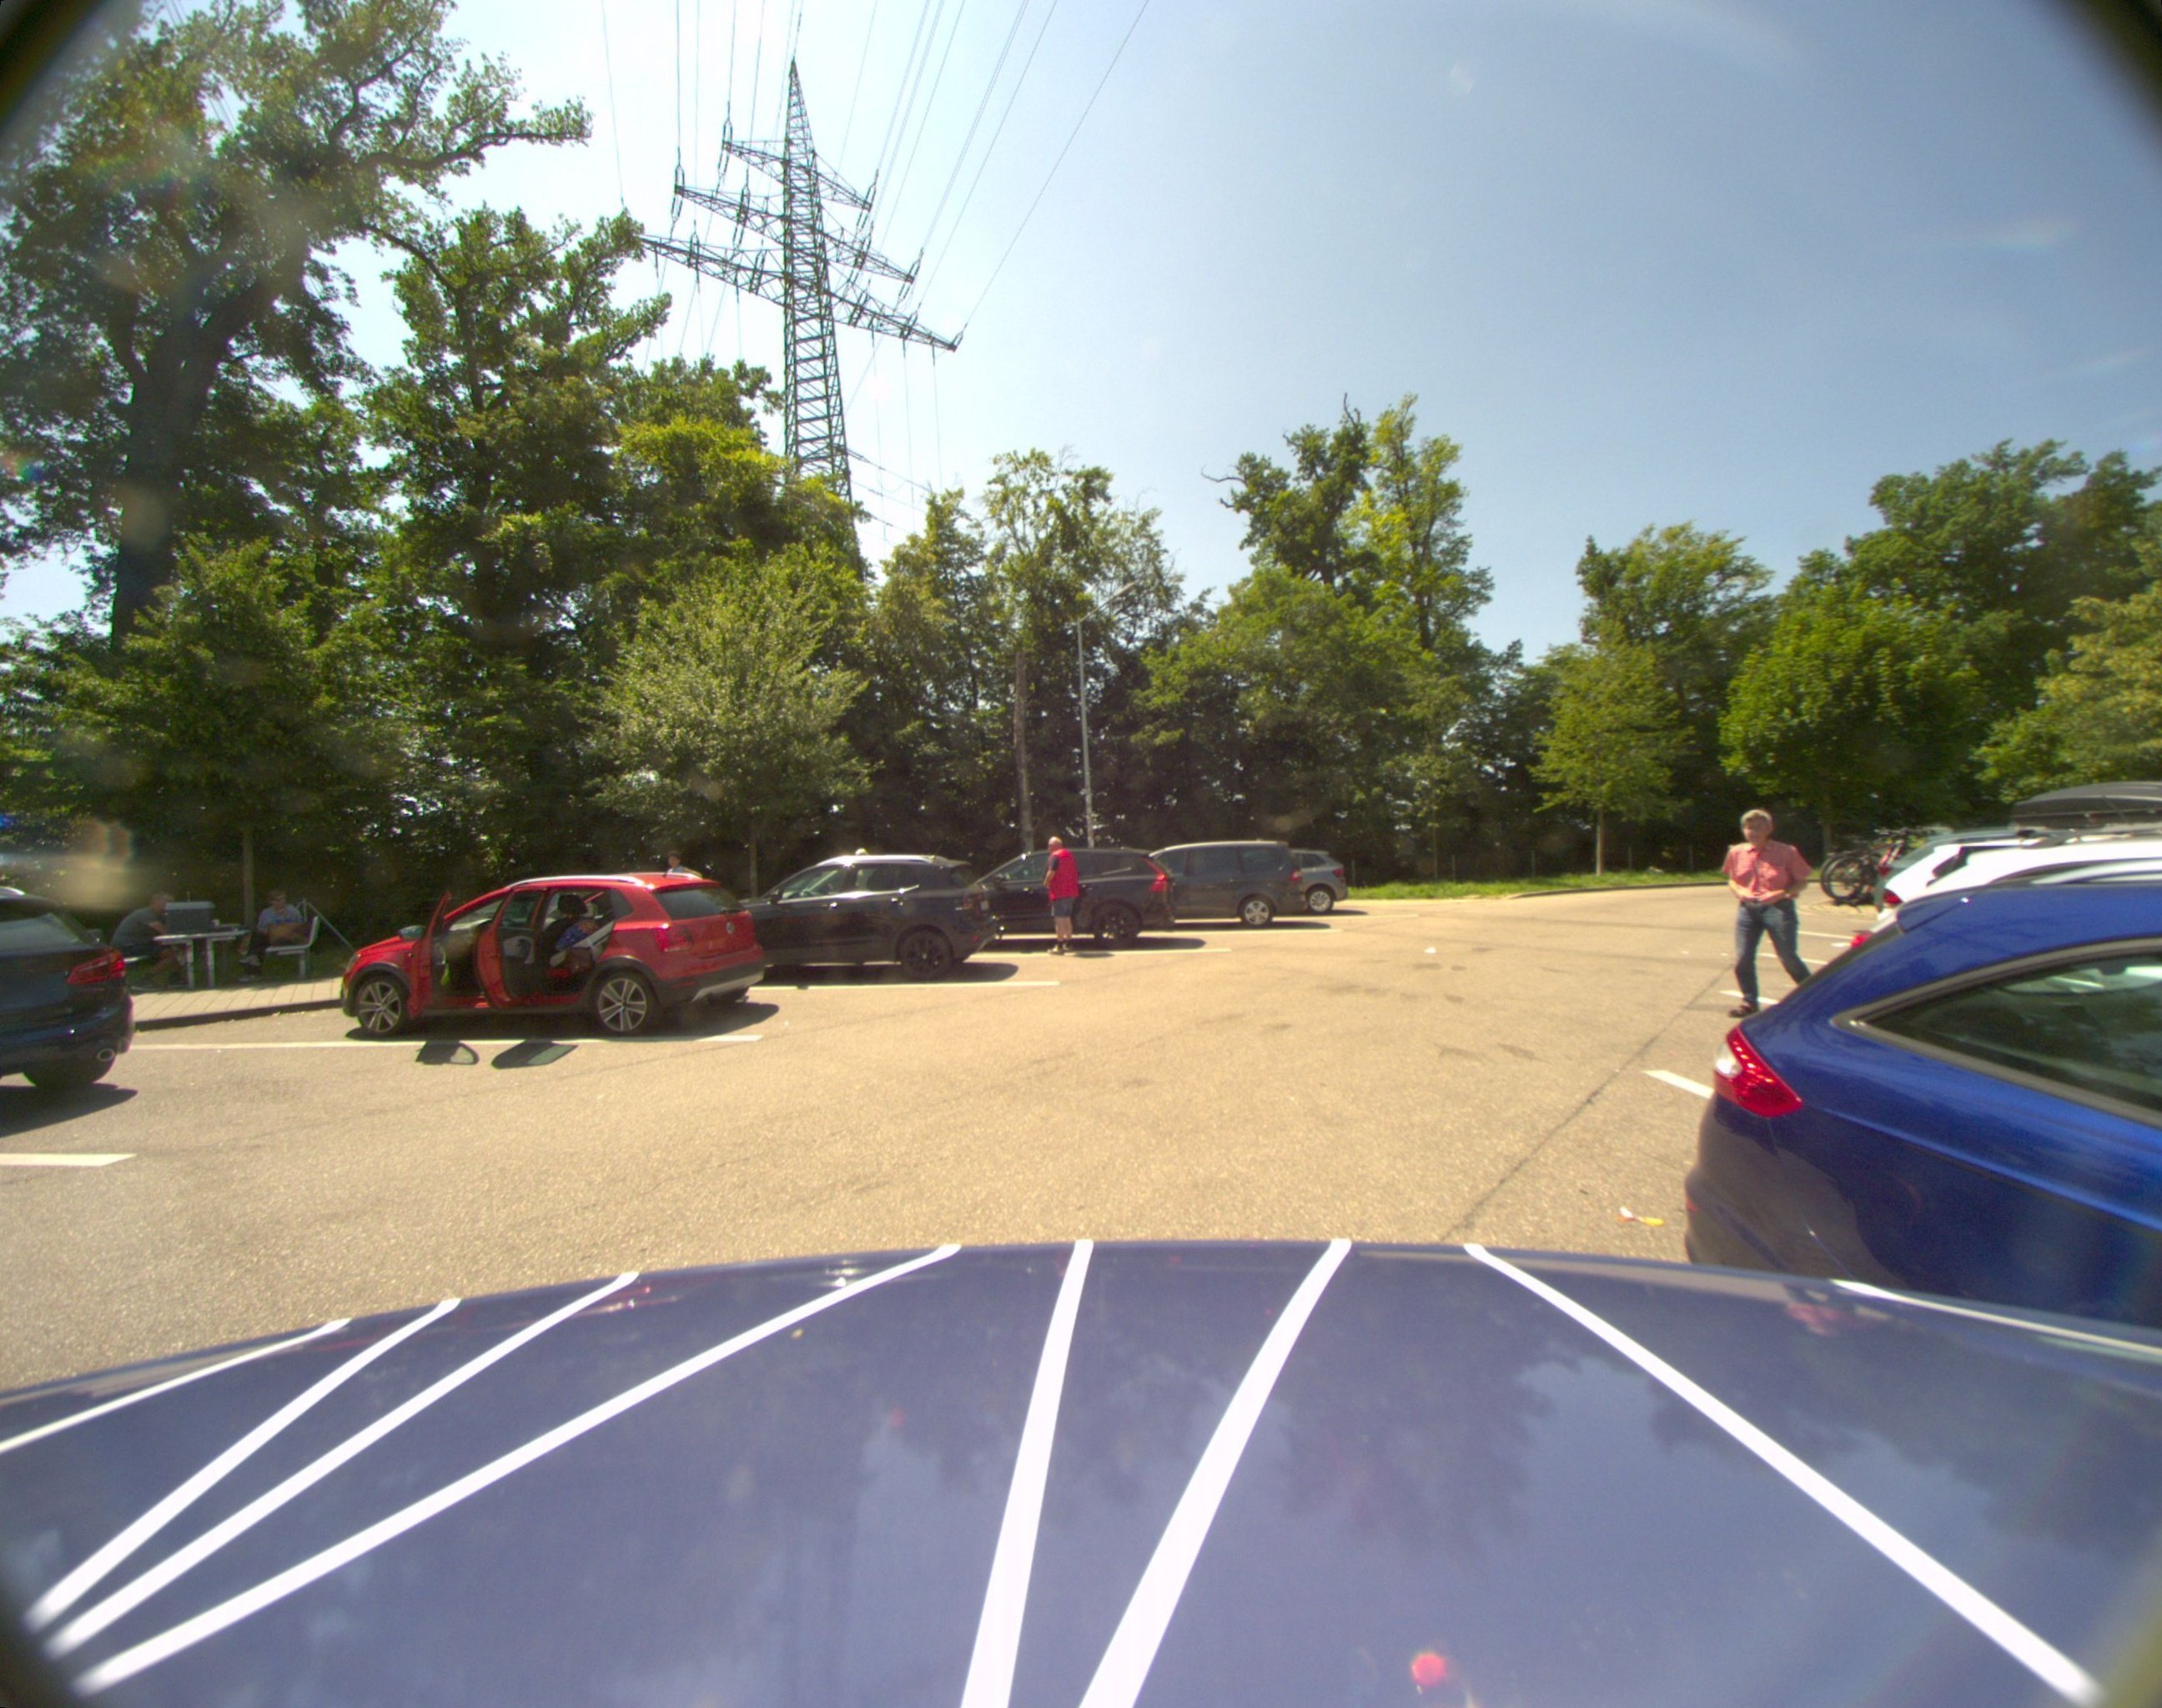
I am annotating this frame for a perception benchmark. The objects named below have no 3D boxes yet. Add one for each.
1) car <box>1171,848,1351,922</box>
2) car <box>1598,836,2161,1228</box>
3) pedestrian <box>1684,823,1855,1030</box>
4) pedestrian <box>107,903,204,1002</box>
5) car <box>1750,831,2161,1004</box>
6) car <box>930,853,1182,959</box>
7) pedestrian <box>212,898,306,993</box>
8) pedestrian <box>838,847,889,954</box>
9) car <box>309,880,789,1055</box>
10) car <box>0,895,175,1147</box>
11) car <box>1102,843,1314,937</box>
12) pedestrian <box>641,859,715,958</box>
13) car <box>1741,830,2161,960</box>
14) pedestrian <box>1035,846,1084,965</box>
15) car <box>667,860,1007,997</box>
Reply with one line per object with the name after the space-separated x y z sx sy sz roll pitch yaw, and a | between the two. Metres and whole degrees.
4.178 0.718 18.194 3.964 1.577 1.781 -2 0 7 | car
4.934 0.660 3.657 1.779 1.456 4.470 -2 -1 0 | car
5.649 0.568 6.284 0.672 1.592 0.759 -2 0 1 | pedestrian
-12.737 1.331 10.469 0.652 1.262 0.672 -2 0 24 | pedestrian
10.062 0.537 8.149 1.779 1.456 4.470 -2 -1 0 | car
-0.328 0.845 12.951 3.964 1.582 1.781 -2 0 8 | car
-11.919 1.308 11.026 0.828 1.287 0.672 -2 0 24 | pedestrian
-3.936 0.817 13.734 0.682 1.854 0.713 -2 0 -30 | pedestrian
-5.195 1.077 7.713 3.704 1.448 1.781 -2 0 7 | car
-8.920 1.162 4.995 4.011 1.558 1.846 -2 0 6 | car
2.508 0.702 15.442 3.964 1.678 1.781 -2 0 7 | car
-6.750 0.887 12.733 0.713 1.584 0.811 -2 0 35 | pedestrian
12.364 0.481 10.933 1.779 1.456 4.470 -2 -1 0 | car
-0.319 0.773 11.659 0.660 1.745 0.636 -2 0 1 | pedestrian
-3.148 0.943 10.372 3.966 1.582 1.841 -2 0 3 | car
